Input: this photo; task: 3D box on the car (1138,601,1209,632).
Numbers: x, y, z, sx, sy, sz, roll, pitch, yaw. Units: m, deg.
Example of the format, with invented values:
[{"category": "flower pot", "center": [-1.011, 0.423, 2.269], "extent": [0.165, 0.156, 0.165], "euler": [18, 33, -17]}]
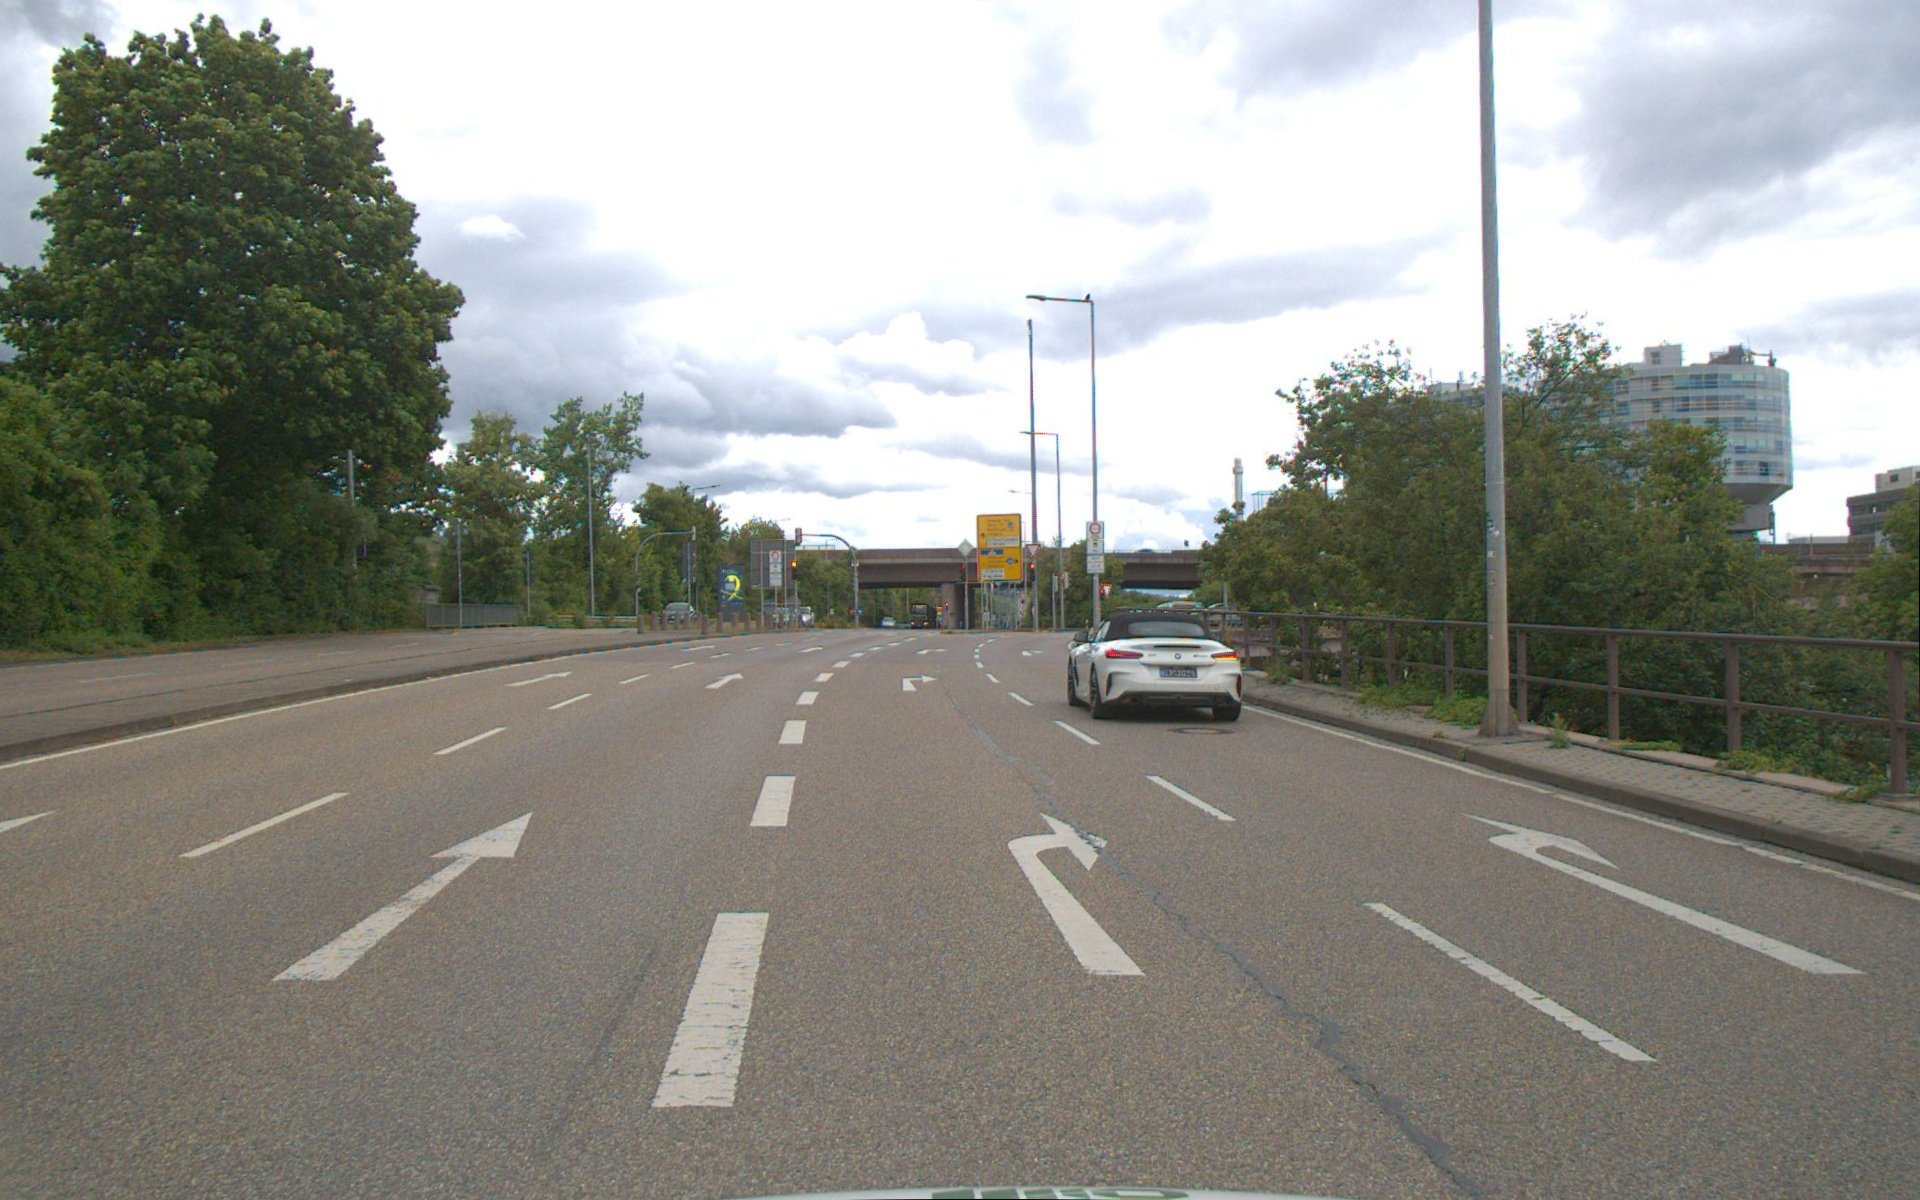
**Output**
[{"category": "car", "center": [13.500, 1.057, 104.577], "extent": [4.280, 1.789, 2.000], "euler": [-1, -2, 2]}]

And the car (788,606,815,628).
[{"category": "car", "center": [-12.047, 1.306, 126.014], "extent": [1.735, 1.661, 3.823], "euler": [1, -1, -1]}]

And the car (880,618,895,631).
[{"category": "car", "center": [-9.325, 3.105, 212.667], "extent": [1.705, 1.564, 3.671], "euler": [0, 0, -1]}]

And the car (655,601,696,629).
[{"category": "car", "center": [-16.044, 0.866, 93.336], "extent": [1.725, 1.510, 3.483], "euler": [2, -1, -1]}]

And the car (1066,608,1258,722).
[{"category": "car", "center": [2.514, 0.789, 21.479], "extent": [1.837, 1.332, 3.870], "euler": [0, -1, -3]}]

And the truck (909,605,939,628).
[{"category": "truck", "center": [-5.159, 2.418, 237.036], "extent": [2.861, 3.201, 10.117], "euler": [1, -1, 7]}]

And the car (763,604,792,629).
[{"category": "car", "center": [-12.917, 1.184, 117.252], "extent": [1.735, 1.674, 3.823], "euler": [1, -1, -1]}]
